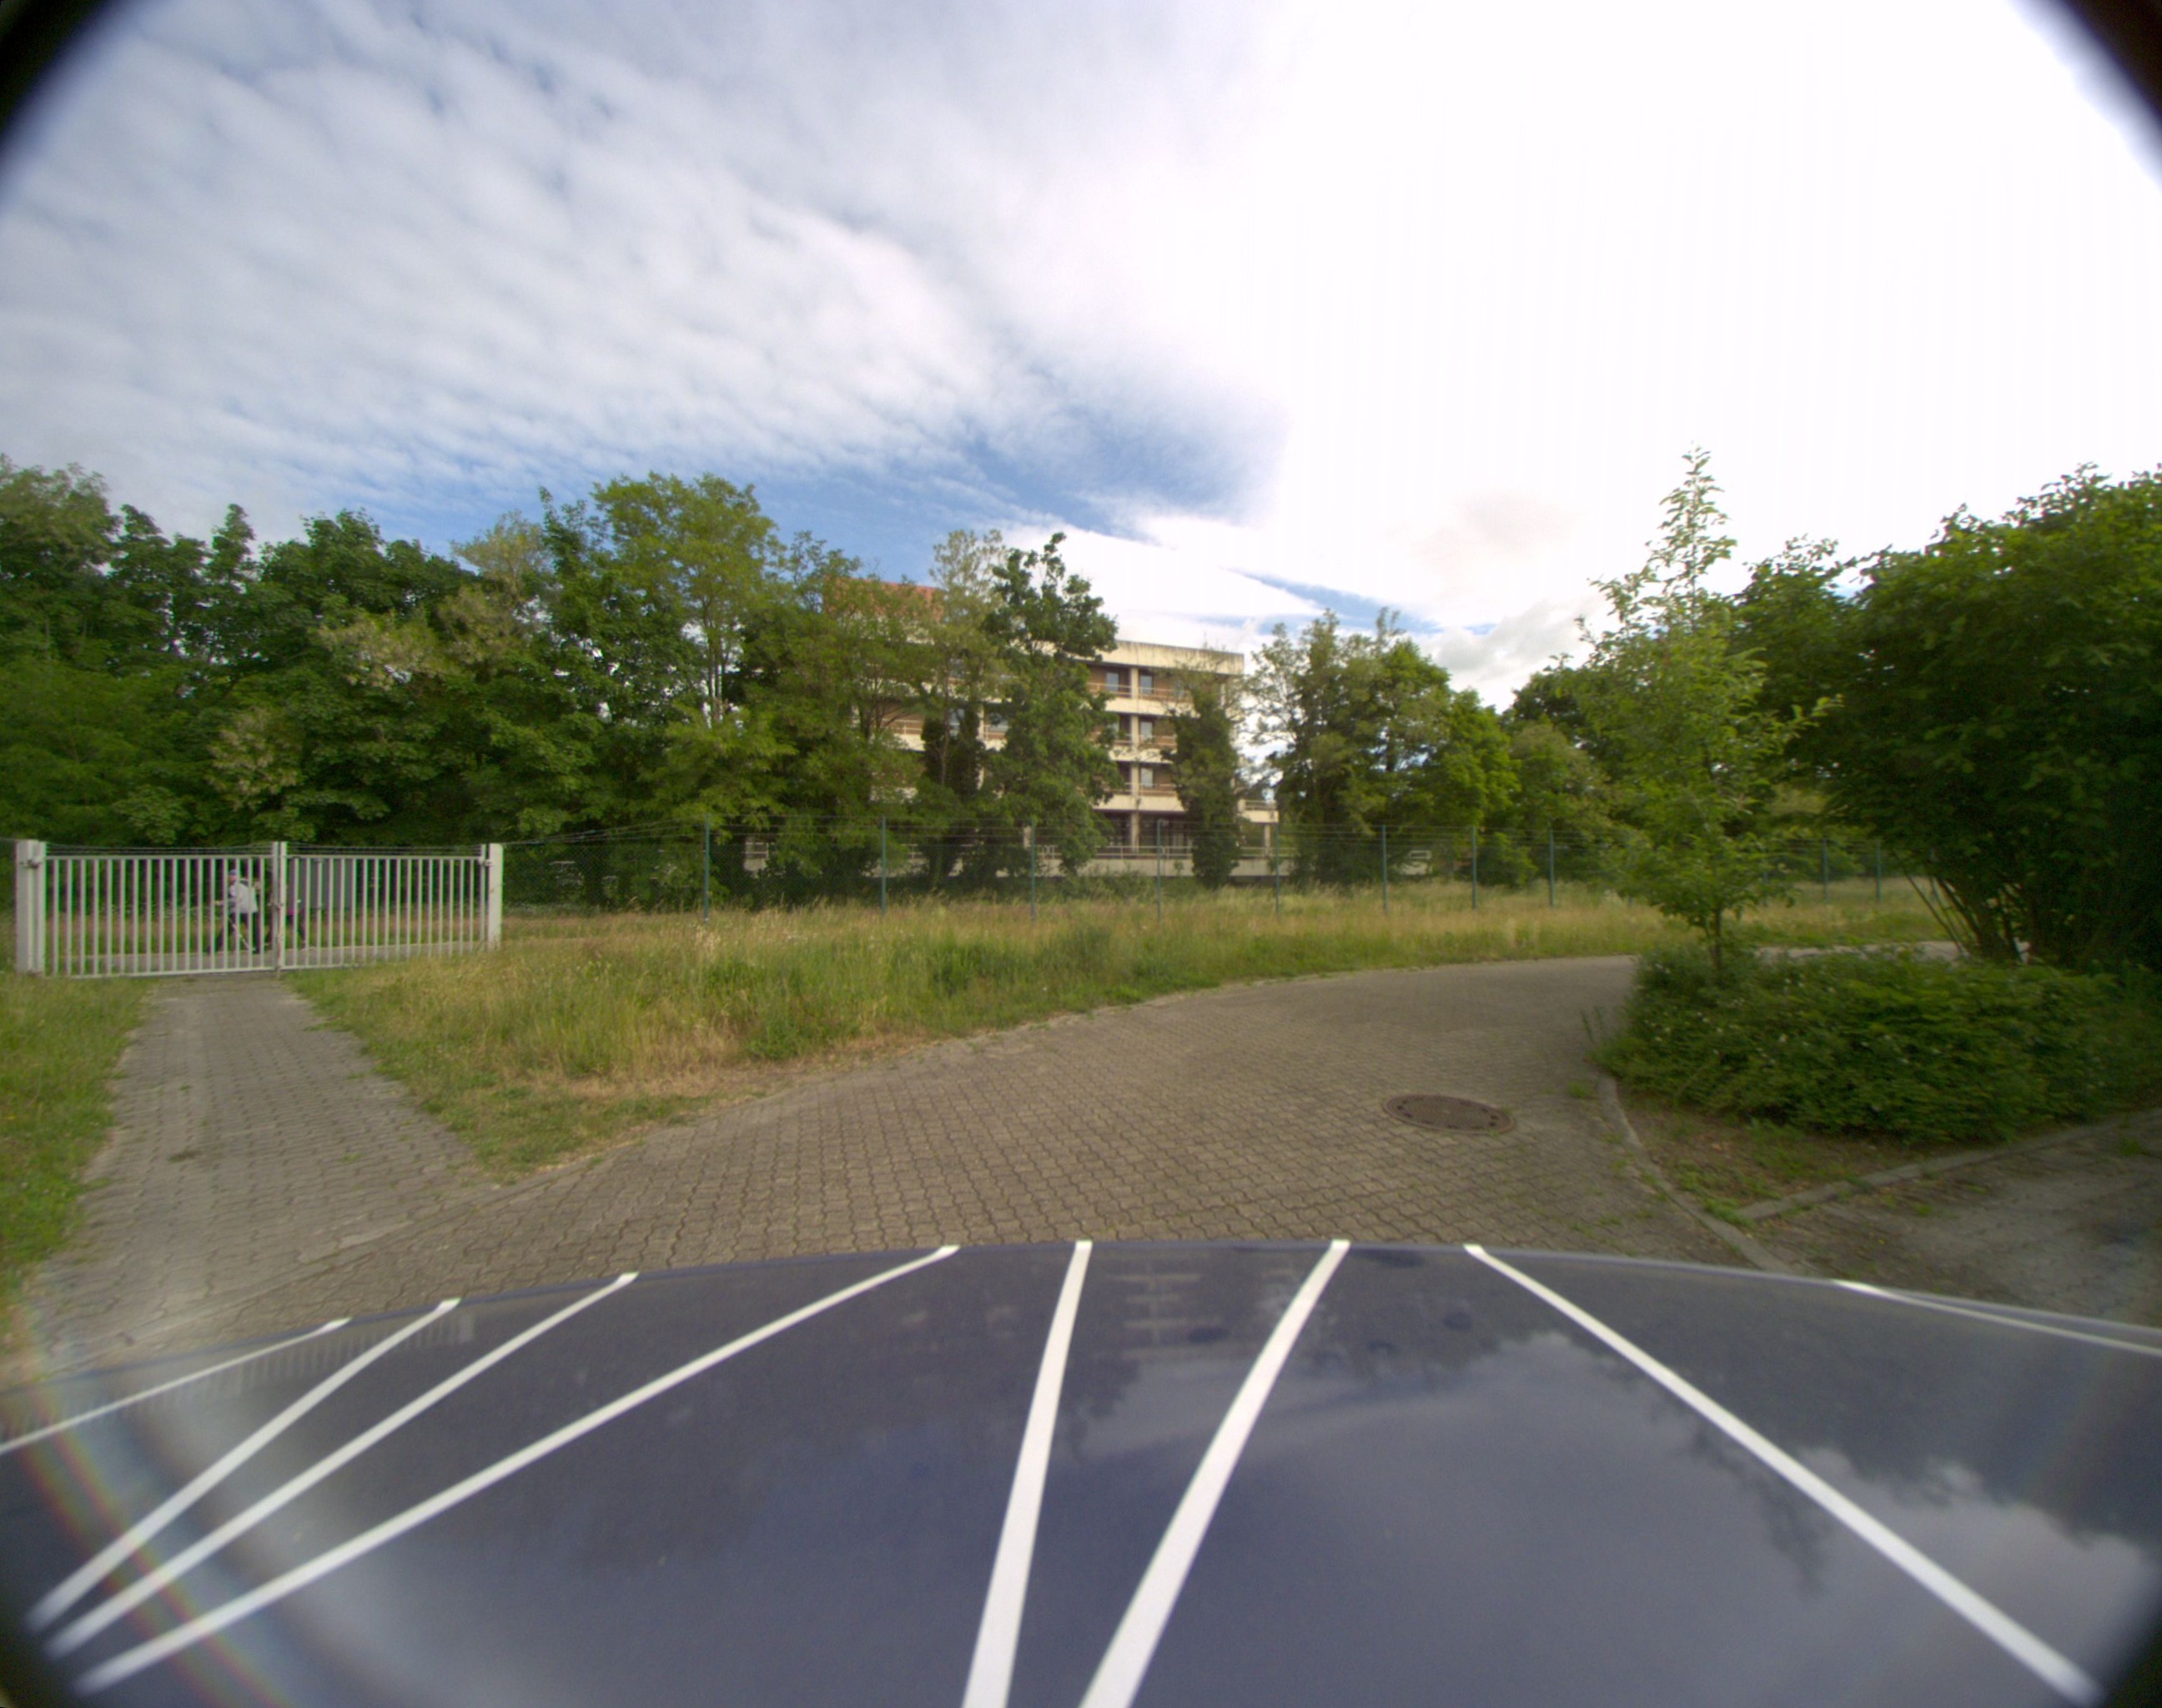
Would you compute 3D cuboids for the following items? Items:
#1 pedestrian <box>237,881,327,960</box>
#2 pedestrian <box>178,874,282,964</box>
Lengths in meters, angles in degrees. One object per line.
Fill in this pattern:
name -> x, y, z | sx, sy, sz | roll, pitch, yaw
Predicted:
pedestrian -> -16.363, 1.336, 15.587 | 1.036, 1.565, 0.736 | 0, 0, -18
pedestrian -> -16.413, 1.221, 14.688 | 1.038, 1.672, 0.843 | 0, 0, -15
